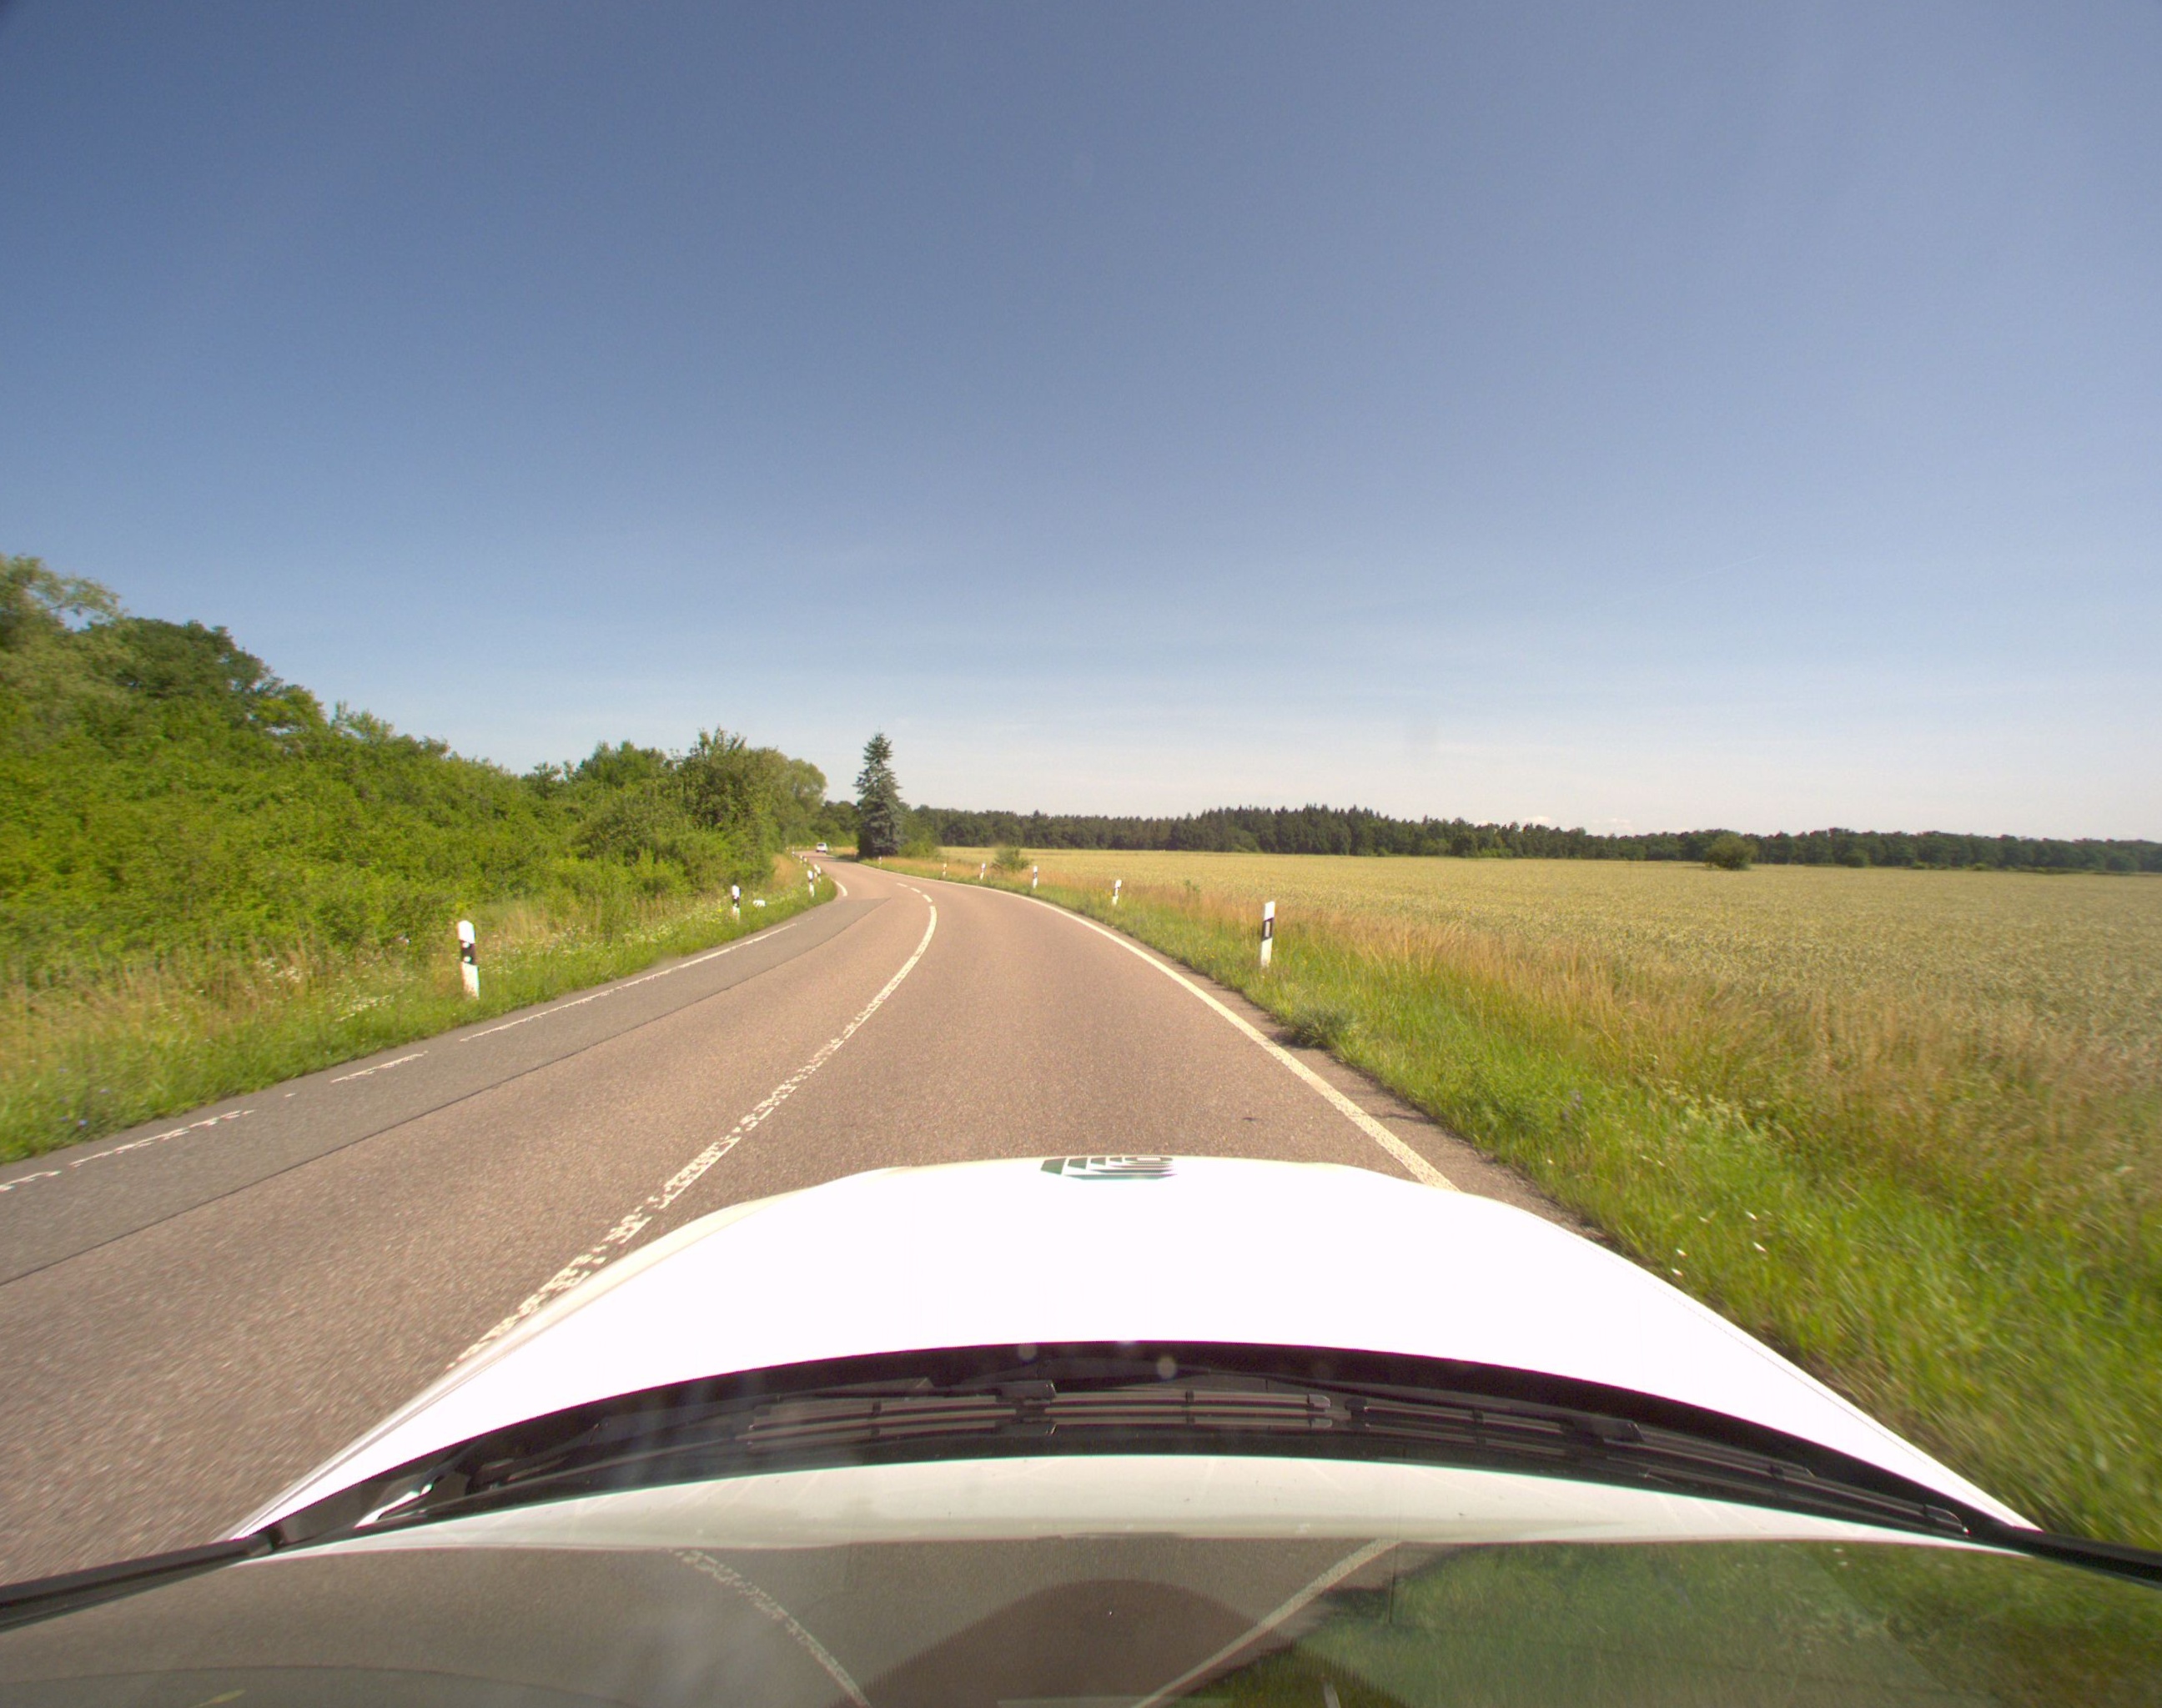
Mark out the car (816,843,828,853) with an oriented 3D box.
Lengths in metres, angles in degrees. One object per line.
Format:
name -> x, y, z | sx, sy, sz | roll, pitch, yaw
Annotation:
car -> -52.556, -1.270, 165.347 | 1.966, 1.802, 4.139 | 3, 1, -16
